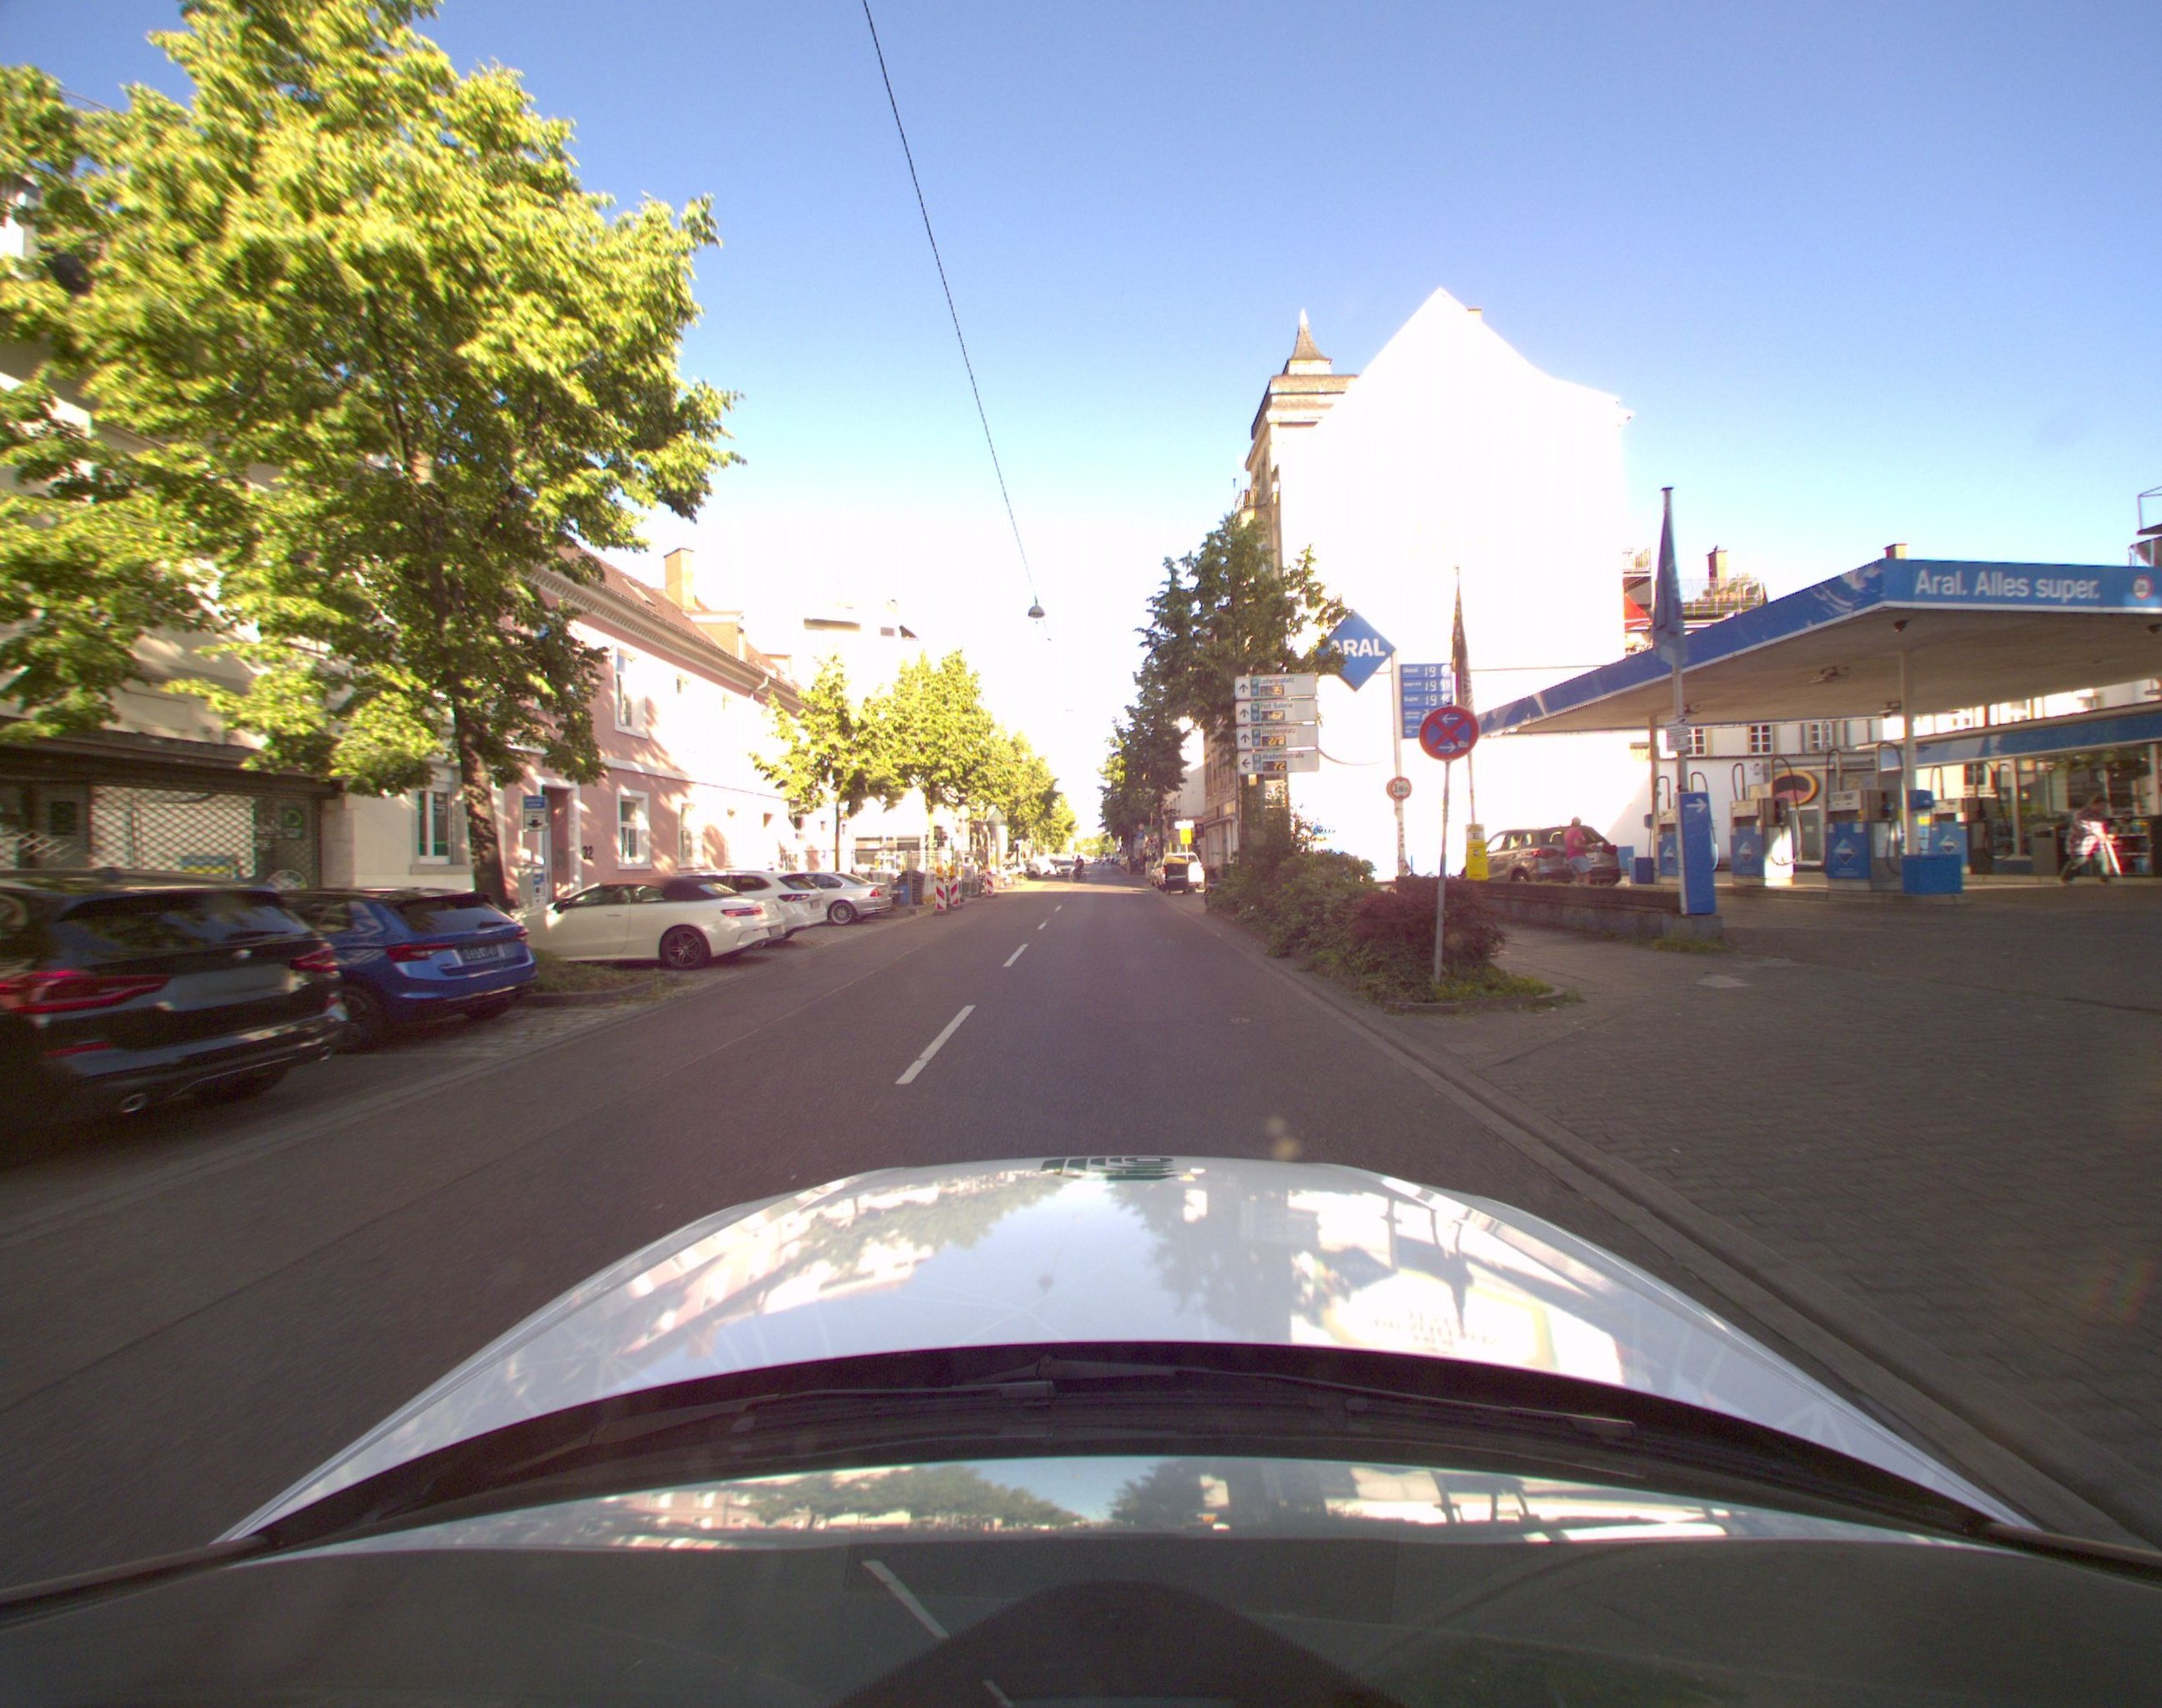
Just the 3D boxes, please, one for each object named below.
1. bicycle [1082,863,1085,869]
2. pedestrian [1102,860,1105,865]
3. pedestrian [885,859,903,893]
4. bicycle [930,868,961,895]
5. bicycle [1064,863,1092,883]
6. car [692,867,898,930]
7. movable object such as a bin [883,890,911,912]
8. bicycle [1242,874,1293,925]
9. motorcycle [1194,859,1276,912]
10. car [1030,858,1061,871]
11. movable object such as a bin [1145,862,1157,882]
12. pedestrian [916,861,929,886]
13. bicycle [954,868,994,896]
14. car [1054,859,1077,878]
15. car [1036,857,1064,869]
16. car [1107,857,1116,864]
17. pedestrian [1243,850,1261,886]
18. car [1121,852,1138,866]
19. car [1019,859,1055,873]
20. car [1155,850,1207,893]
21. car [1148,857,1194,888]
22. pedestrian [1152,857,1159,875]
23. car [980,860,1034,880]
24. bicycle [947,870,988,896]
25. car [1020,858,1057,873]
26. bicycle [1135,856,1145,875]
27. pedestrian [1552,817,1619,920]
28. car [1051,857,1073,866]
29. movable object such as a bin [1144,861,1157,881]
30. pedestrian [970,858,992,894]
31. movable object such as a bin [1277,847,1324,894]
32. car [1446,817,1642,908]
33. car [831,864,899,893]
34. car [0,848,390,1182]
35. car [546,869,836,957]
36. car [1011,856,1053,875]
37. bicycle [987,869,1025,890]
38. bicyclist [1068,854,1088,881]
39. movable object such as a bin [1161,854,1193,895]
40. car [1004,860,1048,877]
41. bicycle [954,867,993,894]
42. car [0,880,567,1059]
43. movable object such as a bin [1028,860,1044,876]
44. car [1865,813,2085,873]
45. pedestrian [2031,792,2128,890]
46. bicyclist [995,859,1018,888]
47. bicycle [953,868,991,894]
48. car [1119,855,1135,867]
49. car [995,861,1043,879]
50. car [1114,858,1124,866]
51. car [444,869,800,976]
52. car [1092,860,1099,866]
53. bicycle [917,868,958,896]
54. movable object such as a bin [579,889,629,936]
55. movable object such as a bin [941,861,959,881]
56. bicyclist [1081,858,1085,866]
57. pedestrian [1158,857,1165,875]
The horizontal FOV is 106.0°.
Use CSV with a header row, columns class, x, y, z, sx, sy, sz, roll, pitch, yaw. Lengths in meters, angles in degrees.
class,x,y,z,sx,sy,sz,roll,pitch,yaw
bicycle,0.415,2.286,157.742,0.558,1.180,1.628,-1,-1,1
pedestrian,4.490,1.719,164.851,0.544,1.026,0.546,-3,-1,-1
pedestrian,-9.428,1.086,40.991,0.608,1.653,0.814,-2,-1,4
bicycle,-6.609,1.339,39.717,0.603,1.252,1.772,-1,0,-41
bicycle,-0.191,1.222,52.886,0.712,1.220,2.049,-2,0,35
car,-7.317,1.121,21.169,4.668,1.412,1.807,-1,-1,-2
movable object such as a bin,-6.027,1.530,26.694,0.625,0.616,1.077,-3,0,1
bicycle,4.123,0.981,17.912,0.431,0.988,1.682,-3,-1,36
motorcycle,4.180,0.829,22.199,1.978,1.330,0.908,-2,0,-11
car,-4.616,1.359,106.409,3.974,1.500,2.000,-2,0,0
movable object such as a bin,4.282,1.073,49.658,0.620,1.180,0.711,-2,0,-1
pedestrian,-10.693,1.305,54.992,0.770,1.643,0.688,-2,0,-8
bicycle,-5.073,1.319,38.771,1.852,1.252,0.599,-1,0,-7
car,-1.341,1.259,72.478,1.796,1.435,4.409,-4,0,0
car,-4.431,1.277,117.181,3.974,1.500,2.000,-2,0,0
car,7.133,1.575,189.327,1.986,1.508,4.000,-1,-1,1
pedestrian,7.463,0.620,35.561,0.608,1.540,0.699,-3,0,1
car,6.051,0.570,101.743,1.986,1.609,4.001,-2,0,1
car,-5.142,1.430,94.965,3.974,1.500,2.000,-2,-1,0
car,4.432,0.753,36.854,1.815,1.679,4.602,-4,0,2
car,4.593,0.915,42.172,1.816,1.391,4.301,-4,0,0
pedestrian,7.120,1.123,77.562,0.545,1.649,0.665,-2,0,2
car,-5.867,1.283,64.944,3.974,1.390,2.000,-2,0,0
bicycle,-5.320,1.355,38.101,1.852,1.170,0.599,-1,0,-7
car,-4.812,1.311,92.456,3.974,1.500,2.000,-2,0,0
bicycle,4.962,0.960,68.704,0.559,1.441,1.629,-8,0,1
pedestrian,9.393,0.269,15.179,0.687,1.850,0.706,-3,-1,-15
car,-3.445,1.471,151.346,3.974,1.500,2.000,-2,0,0
movable object such as a bin,4.281,1.052,50.497,0.703,1.222,0.680,-2,0,-1
pedestrian,-4.846,1.078,39.446,0.797,1.707,0.759,-1,-1,-32
movable object such as a bin,7.691,0.567,28.551,1.267,1.530,1.176,-3,0,-1
car,9.775,0.174,17.655,1.893,1.648,4.296,-3,0,3
car,-13.802,1.529,52.012,4.001,1.610,1.986,-3,0,-20
car,-7.451,0.883,5.148,4.661,1.693,1.809,-1,-1,2
car,-7.372,1.081,15.763,4.668,1.465,1.807,-1,-1,-2
car,-5.003,1.171,83.639,3.967,1.694,2.003,-2,0,6
bicycle,-4.146,1.379,45.080,1.956,1.059,0.764,-2,0,-20
bicyclist,-0.197,0.885,52.891,0.712,1.693,1.164,-2,-1,35
movable object such as a bin,3.845,0.795,32.575,1.135,1.562,1.463,-3,0,9
car,-5.420,1.449,80.843,3.967,1.457,1.871,-2,0,6
bicycle,-5.257,1.305,39.788,1.852,1.252,0.599,-1,0,-7
car,-8.049,1.072,8.144,4.661,1.463,1.809,-1,-1,2
movable object such as a bin,-4.275,1.343,77.389,1.330,1.478,1.480,-2,0,1
car,25.576,-0.292,23.431,3.970,1.464,2.002,-3,0,3
pedestrian,18.538,-0.239,15.134,0.815,1.742,0.818,-2,-1,-11
bicyclist,-4.138,1.054,45.080,1.041,1.560,0.764,-2,0,-20
bicycle,-5.391,1.324,40.431,1.852,1.252,0.599,-1,0,-7
car,6.425,0.959,114.379,1.986,1.609,4.001,-2,0,1
car,-5.379,1.398,70.726,3.974,1.390,2.000,-2,0,0
car,7.910,1.627,169.734,1.986,1.508,4.000,-1,-1,1
car,-7.226,1.049,13.198,4.668,1.465,1.807,-1,-1,-2
car,4.066,2.494,222.473,1.786,1.411,4.001,-2,0,1
bicycle,-6.816,1.327,38.619,1.775,1.252,0.602,-1,0,12
movable object such as a bin,-11.429,1.395,19.530,0.693,1.060,0.732,-3,0,2
movable object such as a bin,-10.040,1.320,62.575,1.137,1.485,1.235,-2,0,-1
bicyclist,0.387,1.507,157.773,0.558,1.548,0.728,-1,-1,1
pedestrian,7.709,1.128,77.896,0.545,1.649,0.665,-2,0,1
